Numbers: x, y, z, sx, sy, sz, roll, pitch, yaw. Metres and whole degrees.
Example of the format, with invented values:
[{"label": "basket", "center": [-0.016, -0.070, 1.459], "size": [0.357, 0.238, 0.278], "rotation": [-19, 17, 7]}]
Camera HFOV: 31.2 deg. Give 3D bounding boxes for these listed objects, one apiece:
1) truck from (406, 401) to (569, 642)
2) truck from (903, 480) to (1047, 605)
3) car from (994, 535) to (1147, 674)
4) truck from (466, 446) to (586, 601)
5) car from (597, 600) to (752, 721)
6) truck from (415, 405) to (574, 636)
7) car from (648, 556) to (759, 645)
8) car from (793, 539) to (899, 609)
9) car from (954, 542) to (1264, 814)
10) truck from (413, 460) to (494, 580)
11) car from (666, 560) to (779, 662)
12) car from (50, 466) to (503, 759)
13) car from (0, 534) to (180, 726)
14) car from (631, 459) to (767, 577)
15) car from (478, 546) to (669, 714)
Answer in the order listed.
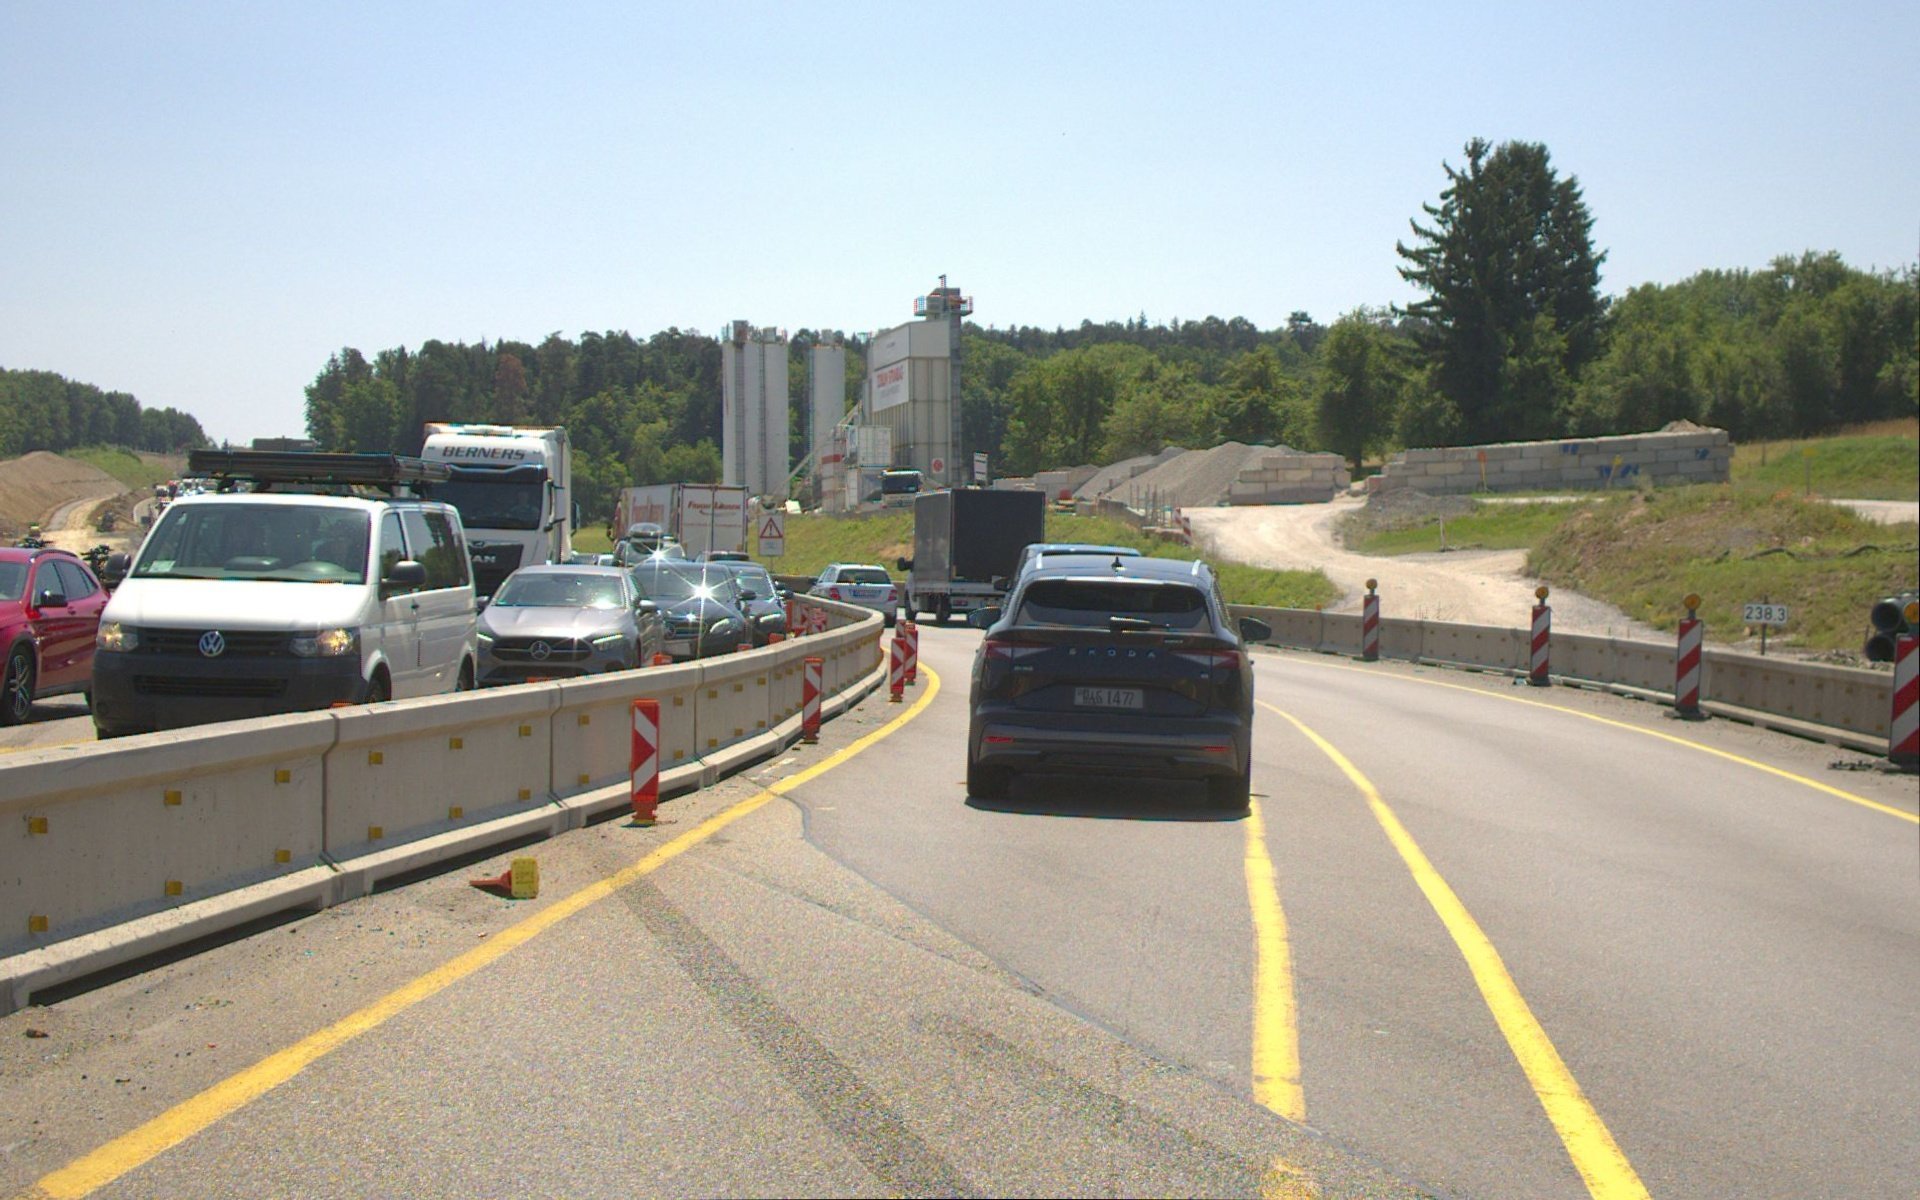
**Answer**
[{"label": "truck", "center": [-8.720, -1.459, 64.014], "size": [2.770, 4.245, 6.200], "rotation": [0, 1, -6]}, {"label": "truck", "center": [0.317, -1.417, 84.362], "size": [2.672, 2.935, 5.622], "rotation": [-1, 1, -9]}, {"label": "car", "center": [1.521, 0.019, 48.841], "size": [1.993, 1.837, 4.000], "rotation": [1, 2, 0]}, {"label": "truck", "center": [-11.611, -2.041, 91.592], "size": [2.699, 3.956, 6.201], "rotation": [0, 1, -11]}, {"label": "car", "center": [-3.677, 0.753, 44.844], "size": [1.726, 1.403, 4.130], "rotation": [1, 1, -1]}, {"label": "truck", "center": [-9.267, -1.600, 69.471], "size": [2.773, 4.263, 11.783], "rotation": [0, 1, -6]}, {"label": "car", "center": [-4.512, -0.019, 59.990], "size": [1.677, 1.439, 4.554], "rotation": [1, 1, -7]}, {"label": "car", "center": [-2.738, -0.645, 81.485], "size": [2.045, 1.521, 5.067], "rotation": [-1, 2, -7]}, {"label": "car", "center": [0.980, 0.446, 23.157], "size": [1.842, 1.576, 4.000], "rotation": [3, 1, 2]}, {"label": "truck", "center": [-18.395, -2.899, 124.651], "size": [2.772, 4.123, 10.873], "rotation": [0, 1, -9]}, {"label": "car", "center": [-3.631, 0.139, 53.079], "size": [1.655, 1.448, 4.249], "rotation": [1, 1, -3]}, {"label": "car", "center": [-4.808, 0.033, 24.993], "size": [1.873, 1.866, 5.058], "rotation": [1, 1, 5]}, {"label": "car", "center": [-8.580, 0.195, 30.131], "size": [1.994, 1.496, 4.653], "rotation": [3, 1, 5]}, {"label": "car", "center": [-9.882, -3.099, 129.270], "size": [3.435, 4.087, 9.200], "rotation": [3, 1, -14]}, {"label": "car", "center": [-4.068, 0.271, 36.642], "size": [1.509, 1.598, 3.953], "rotation": [3, 1, 0]}]
